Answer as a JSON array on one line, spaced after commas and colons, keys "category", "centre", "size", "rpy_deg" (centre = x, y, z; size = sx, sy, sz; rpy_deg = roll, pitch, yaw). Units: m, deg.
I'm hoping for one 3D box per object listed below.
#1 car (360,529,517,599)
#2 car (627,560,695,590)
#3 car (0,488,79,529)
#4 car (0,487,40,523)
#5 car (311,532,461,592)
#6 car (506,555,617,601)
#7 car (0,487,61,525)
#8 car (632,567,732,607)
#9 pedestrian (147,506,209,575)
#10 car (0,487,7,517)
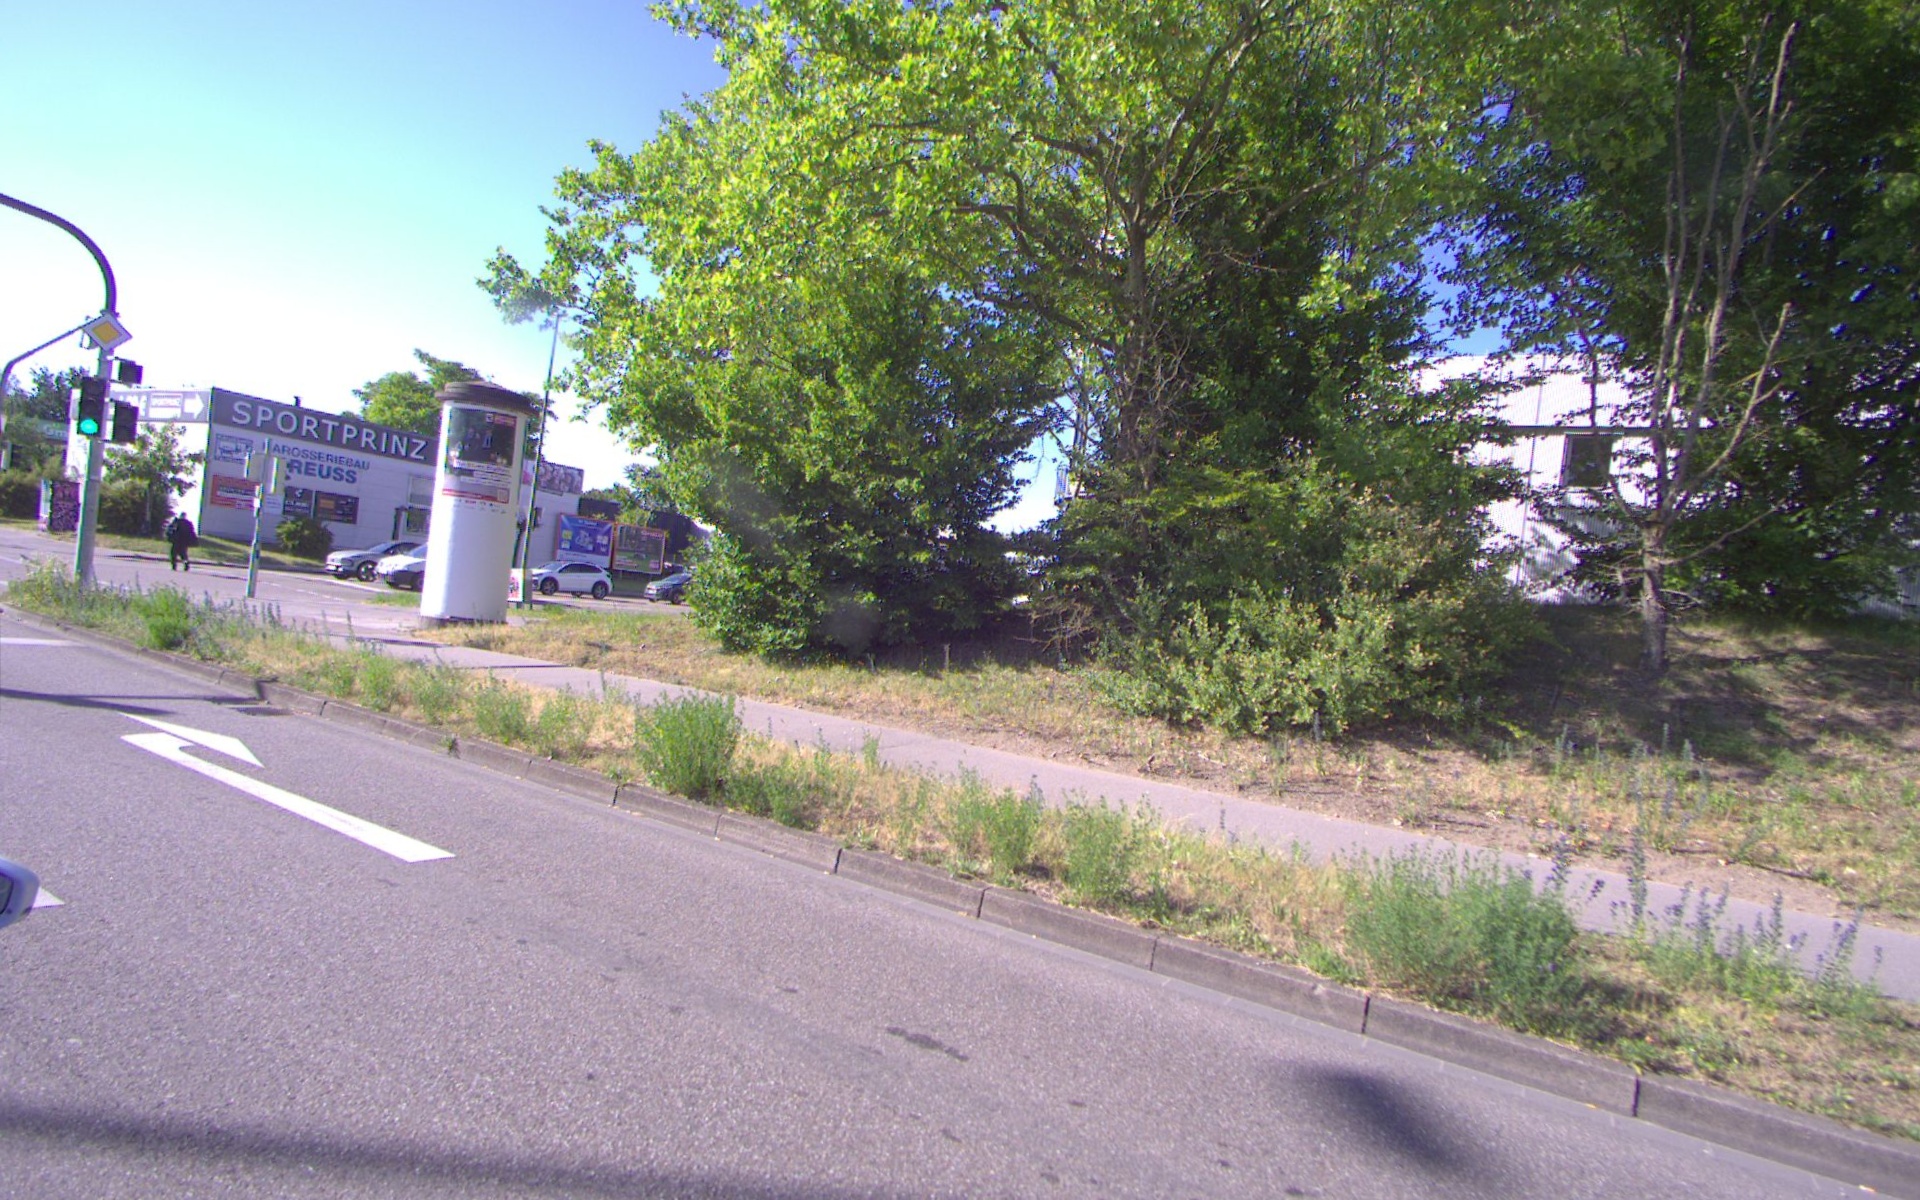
[{"category": "car", "centre": [-17.668, -1.176, 34.280], "size": [1.735, 1.824, 4.388], "rpy_deg": [8, 1, 30]}, {"category": "car", "centre": [-19.287, -1.629, 64.866], "size": [4.496, 1.509, 1.758], "rpy_deg": [6, 1, 36]}, {"category": "car", "centre": [-40.976, -4.049, 43.114], "size": [1.828, 1.472, 4.490], "rpy_deg": [6, 1, 33]}, {"category": "car", "centre": [-45.545, -4.577, 46.240], "size": [1.828, 1.472, 4.490], "rpy_deg": [6, 1, 33]}, {"category": "car", "centre": [-20.451, -1.328, 36.020], "size": [1.735, 1.568, 4.293], "rpy_deg": [8, 1, 30]}, {"category": "car", "centre": [-16.746, -0.899, 42.428], "size": [1.752, 1.509, 4.046], "rpy_deg": [6, 0, 30]}, {"category": "car", "centre": [-43.114, -4.338, 44.606], "size": [1.828, 1.472, 4.490], "rpy_deg": [6, 1, 33]}, {"category": "car", "centre": [-13.257, -0.613, 48.214], "size": [1.736, 1.509, 4.554], "rpy_deg": [6, 1, 32]}, {"category": "pedestrian", "centre": [-21.793, -1.653, 28.031], "size": [0.923, 1.755, 0.927], "rpy_deg": [6, -2, 31]}, {"category": "car", "centre": [-48.745, -4.973, 47.931], "size": [1.828, 1.472, 4.490], "rpy_deg": [6, 1, 33]}]
